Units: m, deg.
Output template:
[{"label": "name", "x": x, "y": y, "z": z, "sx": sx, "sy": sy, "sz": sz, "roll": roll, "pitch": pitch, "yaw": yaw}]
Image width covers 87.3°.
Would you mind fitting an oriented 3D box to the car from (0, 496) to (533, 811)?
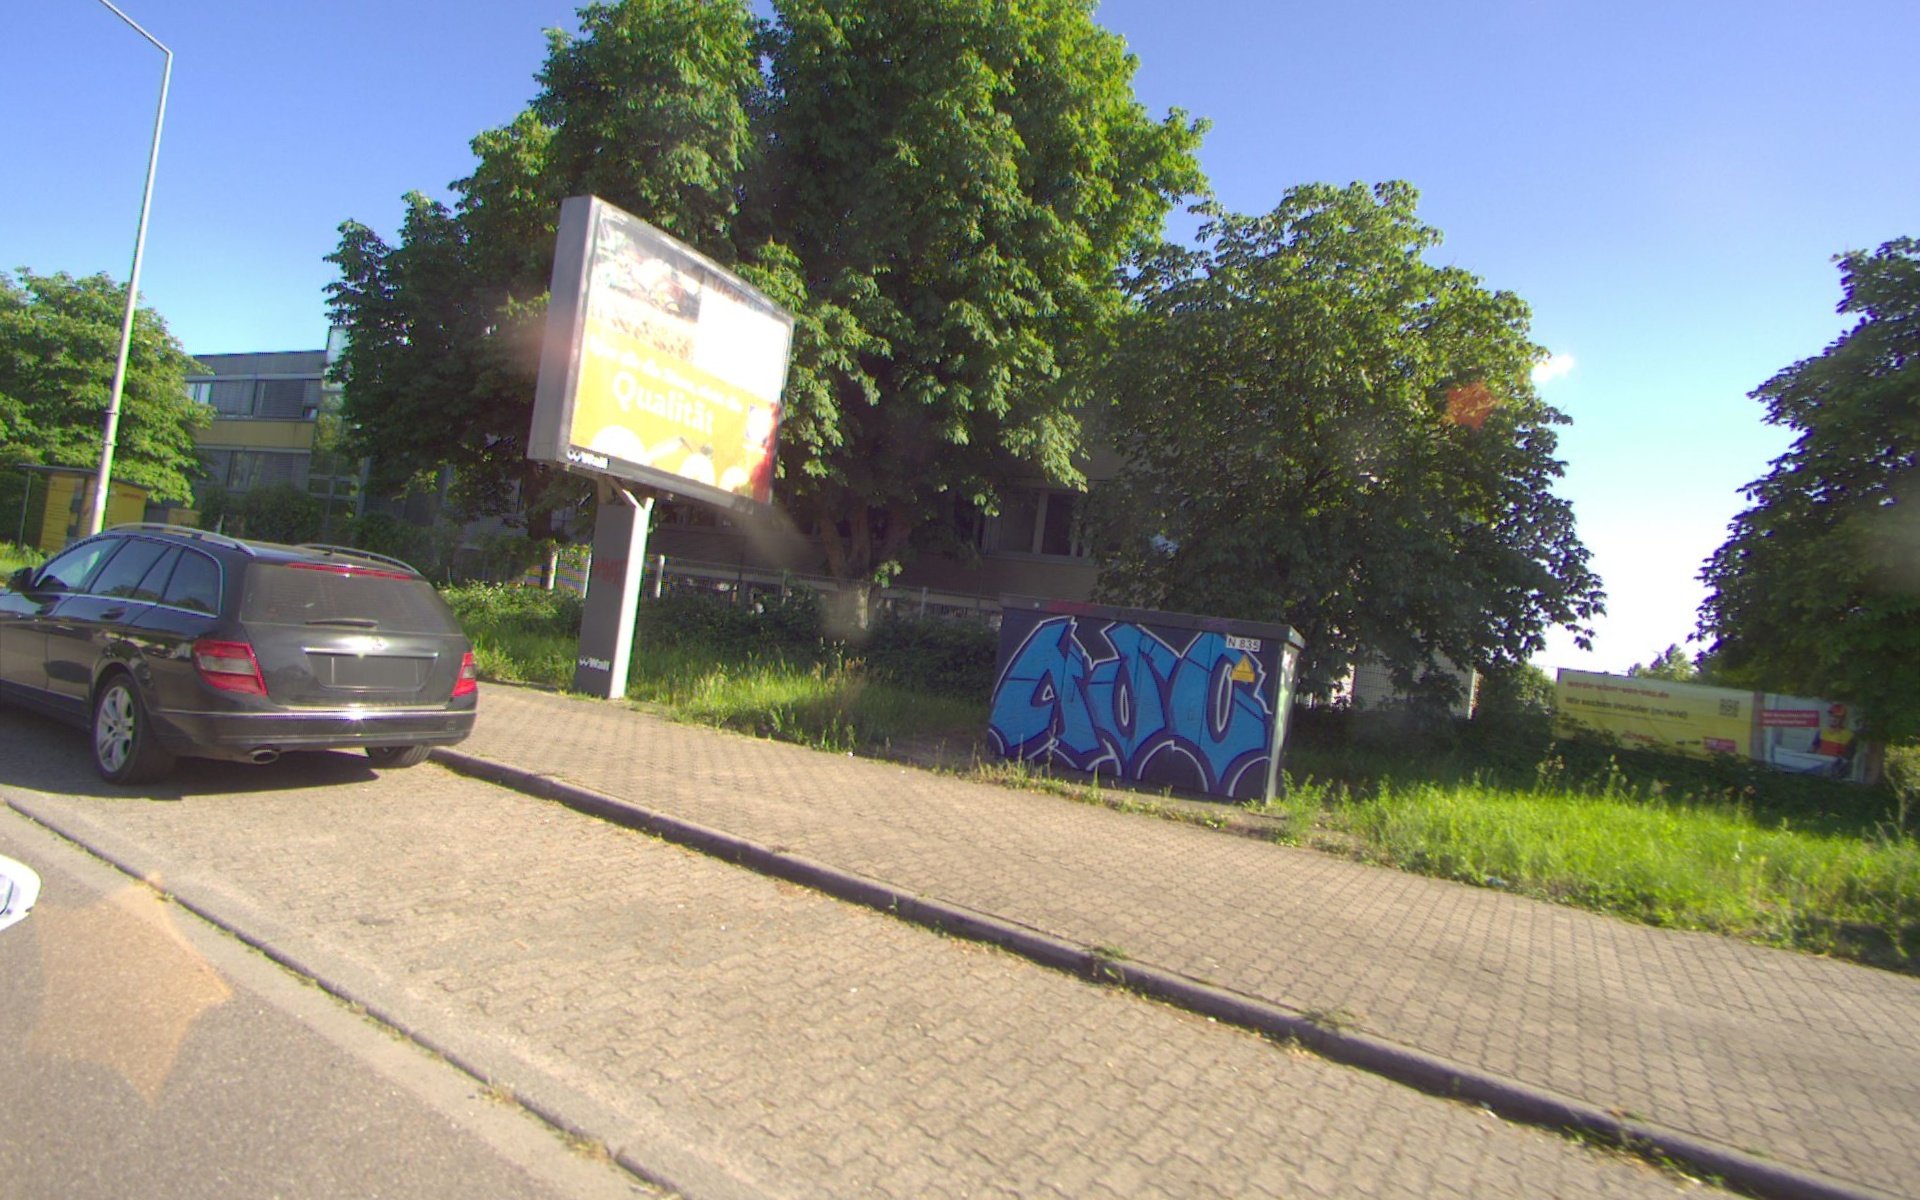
[{"label": "car", "x": -5.216, "y": 0.212, "z": 6.918, "sx": 4.349, "sy": 1.436, "sz": 1.813, "roll": 7, "pitch": -2, "yaw": 30}]
